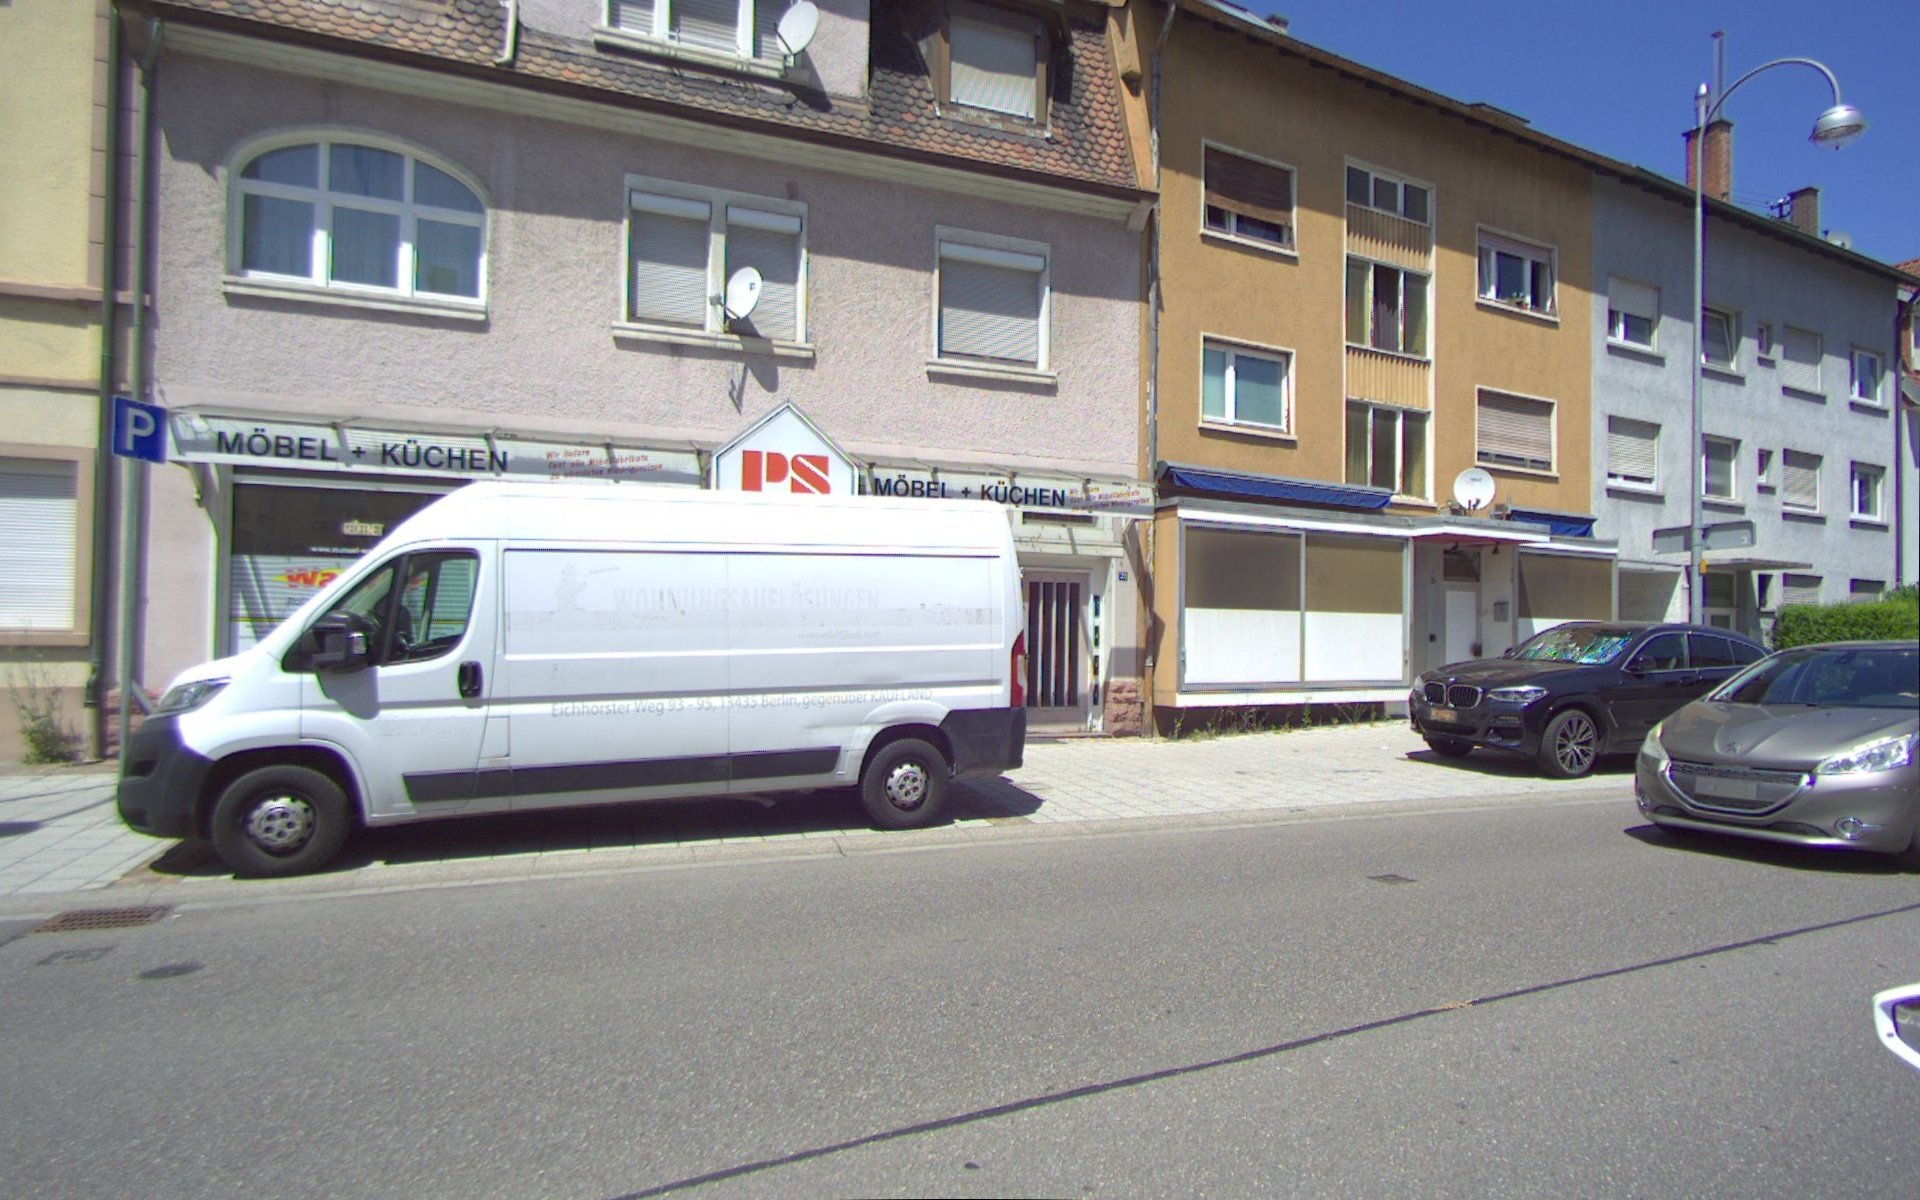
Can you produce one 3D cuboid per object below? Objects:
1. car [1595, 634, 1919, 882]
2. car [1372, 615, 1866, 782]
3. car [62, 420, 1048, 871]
[{"bbox_3d":[6.853,0.972,7.401,3.943,1.430,1.728,1,-3,-23],"label":"car"},{"bbox_3d":[7.658,1.043,11.787,5.024,1.636,2.085,1,0,-16],"label":"car"},{"bbox_3d":[-2.518,0.307,7.655,6.028,2.482,2.115,1,1,-22],"label":"car"}]
